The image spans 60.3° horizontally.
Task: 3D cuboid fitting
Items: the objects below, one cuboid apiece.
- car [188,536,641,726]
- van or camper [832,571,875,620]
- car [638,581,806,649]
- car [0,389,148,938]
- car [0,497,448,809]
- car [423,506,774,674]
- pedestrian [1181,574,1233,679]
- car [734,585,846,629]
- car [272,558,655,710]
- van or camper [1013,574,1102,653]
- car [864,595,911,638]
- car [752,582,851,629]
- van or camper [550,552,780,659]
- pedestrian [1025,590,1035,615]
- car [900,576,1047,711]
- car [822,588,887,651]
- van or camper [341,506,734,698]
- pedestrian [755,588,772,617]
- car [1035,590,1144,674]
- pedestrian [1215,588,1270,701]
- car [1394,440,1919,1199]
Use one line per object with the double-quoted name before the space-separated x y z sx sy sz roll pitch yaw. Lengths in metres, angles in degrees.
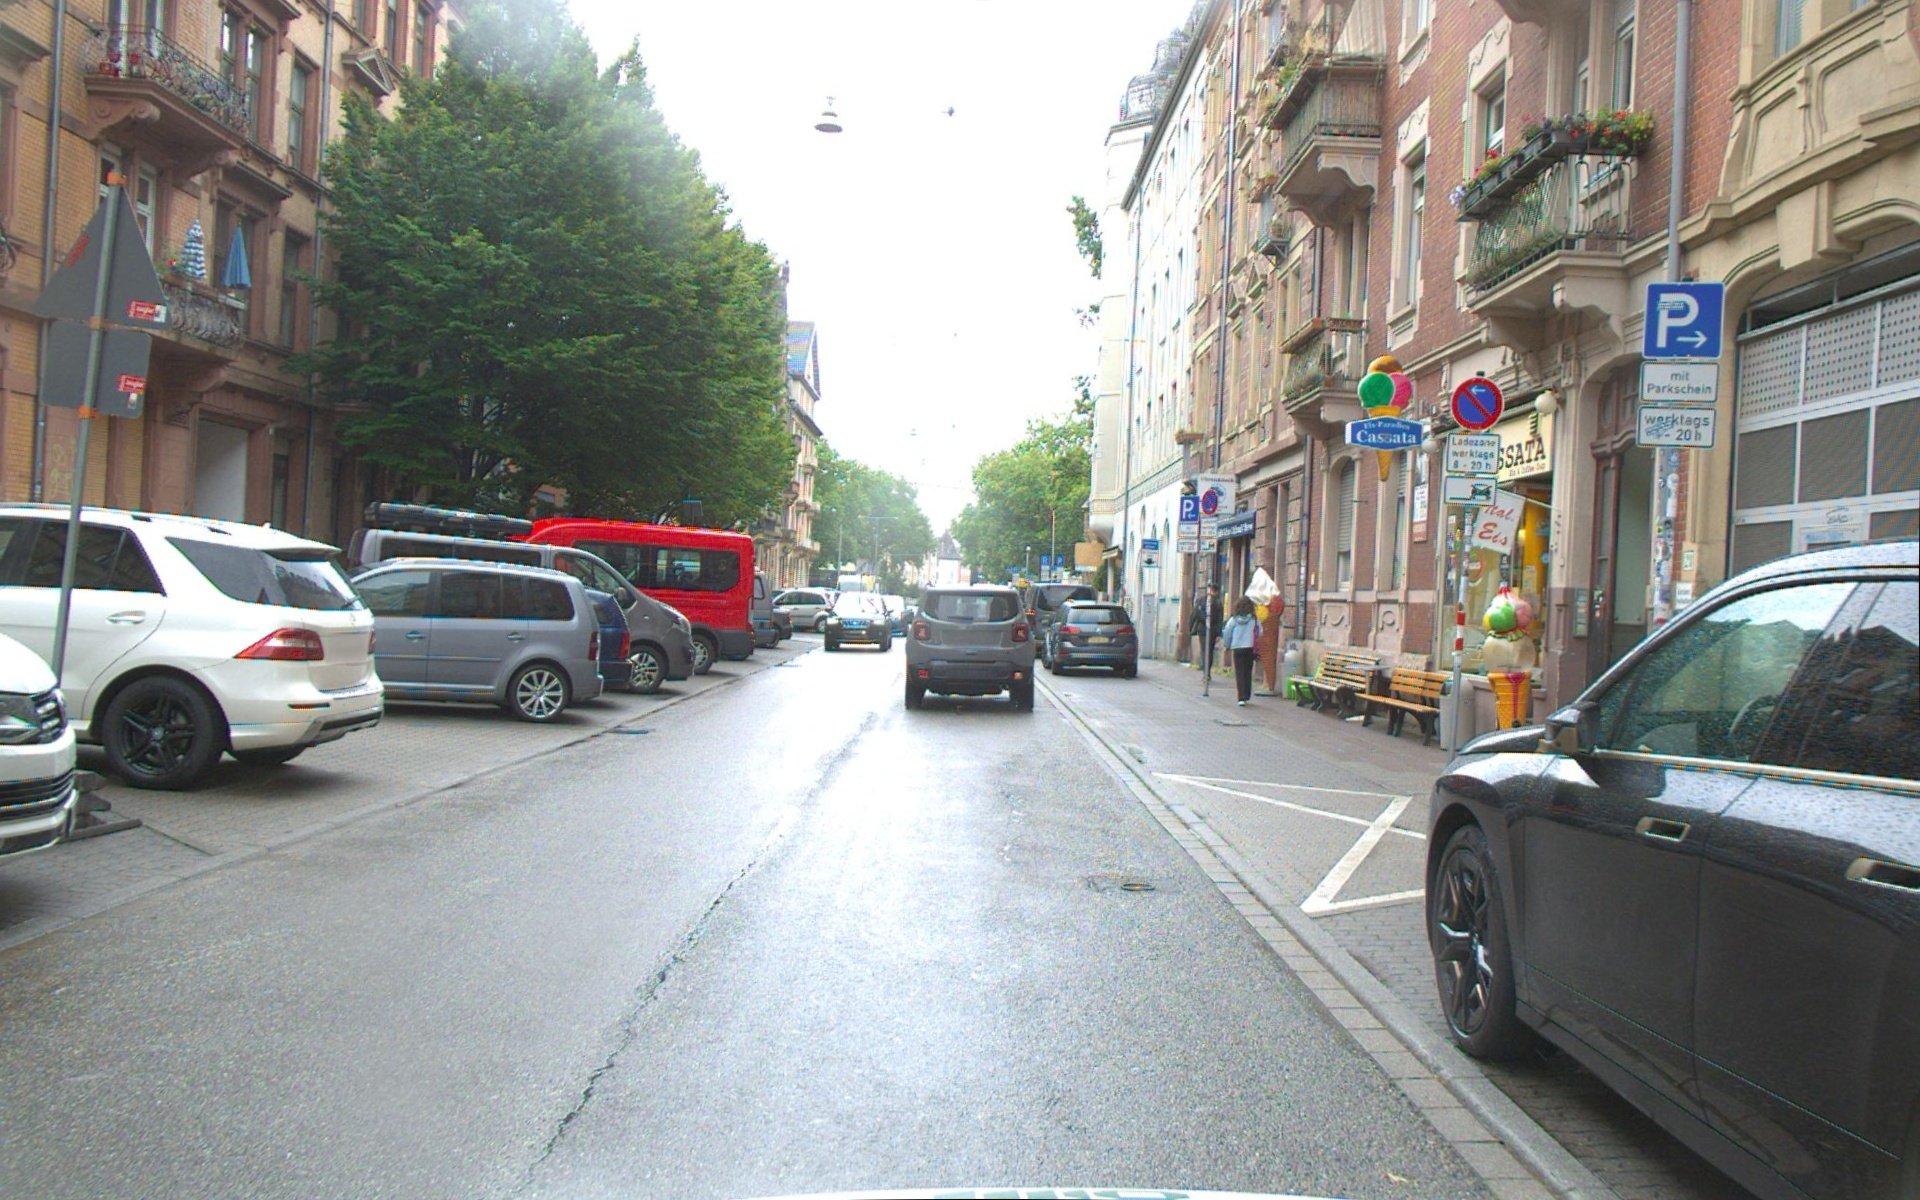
"car" -5.901 0.342 17.967 4.378 1.658 1.829 5 0 -27
"van or camper" -6.158 -0.202 96.083 2.078 2.575 6.873 -2 -2 -1
"car" -6.099 0.395 42.616 3.942 1.472 1.742 4 0 -41
"car" -6.058 0.133 6.292 5.169 2.114 1.855 3 -1 -25
"car" -6.334 0.231 11.737 4.487 1.816 2.545 5 0 -1
"car" -6.237 -0.134 28.665 5.491 2.585 2.209 3 0 -28
"pedestrian" 4.691 0.497 31.365 0.667 1.968 0.807 1 0 35
"car" -6.093 0.259 59.418 3.672 1.477 1.664 1 0 -36
"car" -6.112 0.419 20.416 4.284 1.530 1.743 4 0 -23
"van or camper" 2.495 0.330 43.445 1.980 1.924 5.054 1 0 -1
"car" -2.681 0.595 61.751 1.636 1.491 4.002 2 0 -1
"car" -5.964 0.201 62.300 3.344 1.683 1.615 1 0 -33
"van or camper" -6.188 0.139 34.903 4.394 2.009 1.761 3 0 -34
"pedestrian" 4.980 0.170 117.739 0.676 1.741 0.684 1 0 0
"car" 0.127 0.565 23.707 1.860 1.700 4.504 2 0 -1
"car" -2.863 0.517 45.412 1.636 1.586 4.001 2 0 -3
"van or camper" -5.966 0.059 23.390 4.949 2.390 2.325 3 0 -27
"pedestrian" -10.930 0.137 91.841 0.694 1.578 0.608 4 0 6
"car" 2.601 0.628 34.006 1.804 1.572 4.002 2 0 -1
"pedestrian" 4.199 0.651 24.635 0.665 1.642 0.810 1 0 0
"car" 2.698 0.639 3.904 1.953 1.810 4.825 2 0 -1
